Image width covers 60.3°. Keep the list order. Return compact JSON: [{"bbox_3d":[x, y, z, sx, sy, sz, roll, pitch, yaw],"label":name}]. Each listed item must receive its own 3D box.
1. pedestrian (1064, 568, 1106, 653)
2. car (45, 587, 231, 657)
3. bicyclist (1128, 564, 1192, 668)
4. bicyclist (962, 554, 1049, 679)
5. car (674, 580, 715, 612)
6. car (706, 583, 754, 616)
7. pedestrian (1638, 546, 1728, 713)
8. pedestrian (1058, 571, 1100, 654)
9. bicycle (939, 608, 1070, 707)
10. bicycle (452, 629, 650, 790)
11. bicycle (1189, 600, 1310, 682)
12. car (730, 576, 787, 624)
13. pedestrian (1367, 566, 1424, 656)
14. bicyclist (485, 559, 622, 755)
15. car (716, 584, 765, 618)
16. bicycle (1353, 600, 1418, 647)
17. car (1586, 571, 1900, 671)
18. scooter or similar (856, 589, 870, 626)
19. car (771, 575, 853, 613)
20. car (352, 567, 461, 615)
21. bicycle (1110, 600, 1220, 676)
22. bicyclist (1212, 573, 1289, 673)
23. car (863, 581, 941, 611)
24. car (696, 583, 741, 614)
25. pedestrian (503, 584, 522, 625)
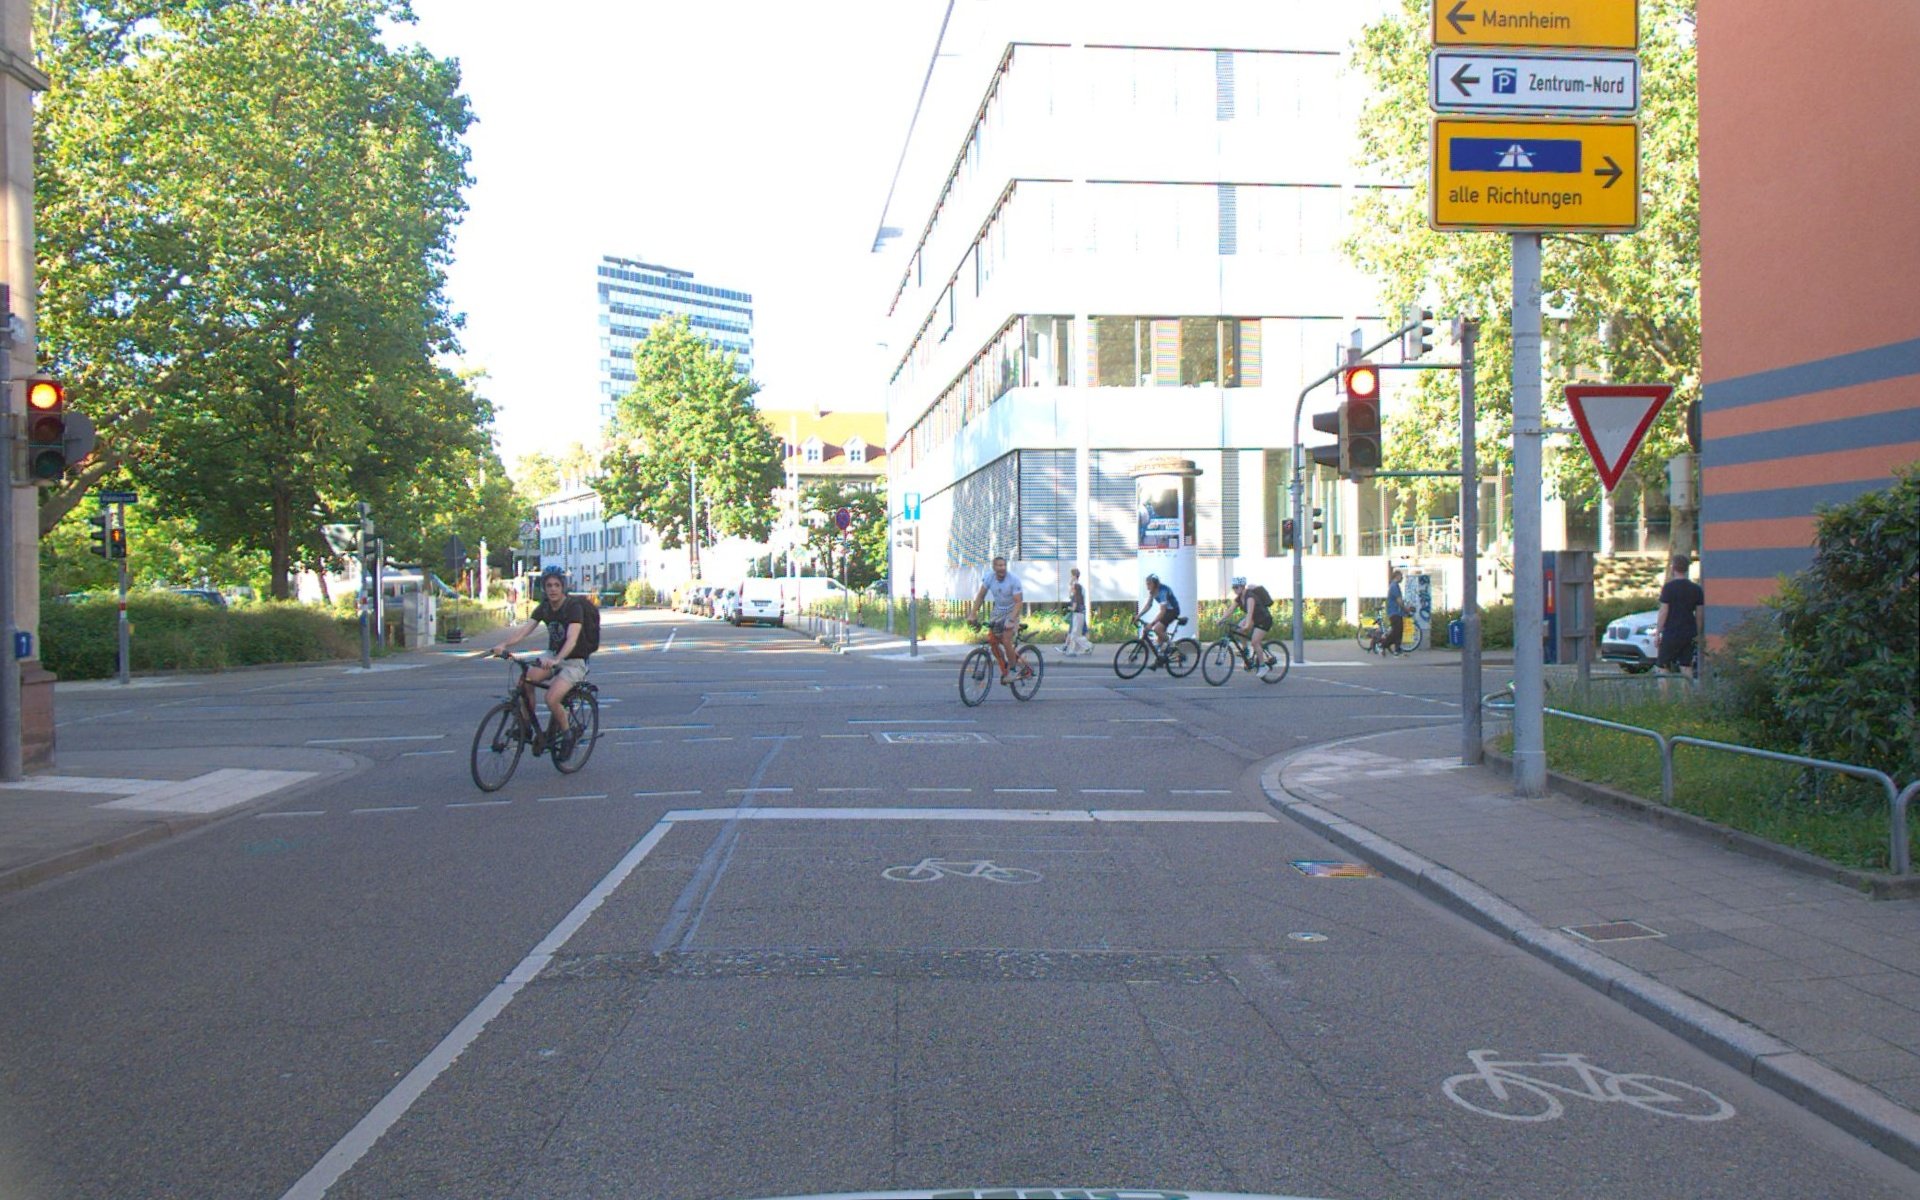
[{"bbox_3d":[2.755,0.230,36.342,0.749,1.826,0.648,1,-1,20],"label":"pedestrian"},{"bbox_3d":[-18.363,0.485,37.082,3.347,1.483,1.646,1,0,-11],"label":"car"},{"bbox_3d":[3.240,0.245,26.838,0.814,1.657,0.621,-1,0,-30],"label":"bicyclist"},{"bbox_3d":[0.582,0.200,21.156,0.691,1.549,0.914,-1,0,39],"label":"bicyclist"},{"bbox_3d":[-15.382,-0.225,95.622,1.960,1.755,4.635,1,0,-14],"label":"car"},{"bbox_3d":[-11.306,-0.019,81.101,1.959,1.525,4.272,1,0,-13],"label":"car"},{"bbox_3d":[8.186,0.328,18.737,0.713,1.842,0.691,1,-1,-42],"label":"pedestrian"},{"bbox_3d":[2.557,0.270,35.564,0.749,1.749,0.648,1,-1,19],"label":"pedestrian"},{"bbox_3d":[0.594,0.703,21.149,0.615,1.172,1.961,-1,1,38],"label":"bicycle"},{"bbox_3d":[-3.344,0.858,13.717,0.578,1.172,1.970,-1,0,20],"label":"bicycle"},{"bbox_3d":[4.365,0.599,24.917,1.756,1.172,0.622,-1,0,-26],"label":"bicycle"},{"bbox_3d":[-7.914,0.009,64.720,1.957,1.755,4.641,1,0,-10],"label":"car"},{"bbox_3d":[9.127,0.229,34.694,0.900,1.847,0.758,1,-1,41],"label":"pedestrian"},{"bbox_3d":[-3.357,0.449,13.723,0.578,1.554,1.079,-1,0,20],"label":"bicyclist"},{"bbox_3d":[-10.192,0.050,76.670,1.958,1.525,4.639,1,0,-11],"label":"car"},{"bbox_3d":[9.327,0.509,36.301,0.376,1.026,1.410,-1,0,-42],"label":"bicycle"},{"bbox_3d":[12.500,0.322,26.542,4.269,1.541,1.718,0,0,-3],"label":"car"},{"bbox_3d":[-3.425,0.262,58.254,0.429,1.278,1.418,-1,0,-5],"label":"scooter or similar"},{"bbox_3d":[-9.199,-0.365,102.815,4.718,2.196,1.990,1,0,-18],"label":"car"},{"bbox_3d":[-24.960,-0.397,74.699,4.363,2.049,1.995,1,0,-10],"label":"car"},{"bbox_3d":[3.336,0.606,26.897,1.759,1.172,0.621,-1,0,-30],"label":"bicycle"},{"bbox_3d":[4.377,0.338,24.910,0.959,1.471,0.622,-1,0,-26],"label":"bicyclist"},{"bbox_3d":[-3.674,-0.250,104.741,4.563,1.755,1.991,1,0,-17],"label":"car"},{"bbox_3d":[-12.549,-0.062,85.807,1.959,1.525,4.637,1,0,-13],"label":"car"},{"bbox_3d":[-17.971,0.182,66.378,0.688,1.614,0.634,1,-1,-16],"label":"pedestrian"}]
